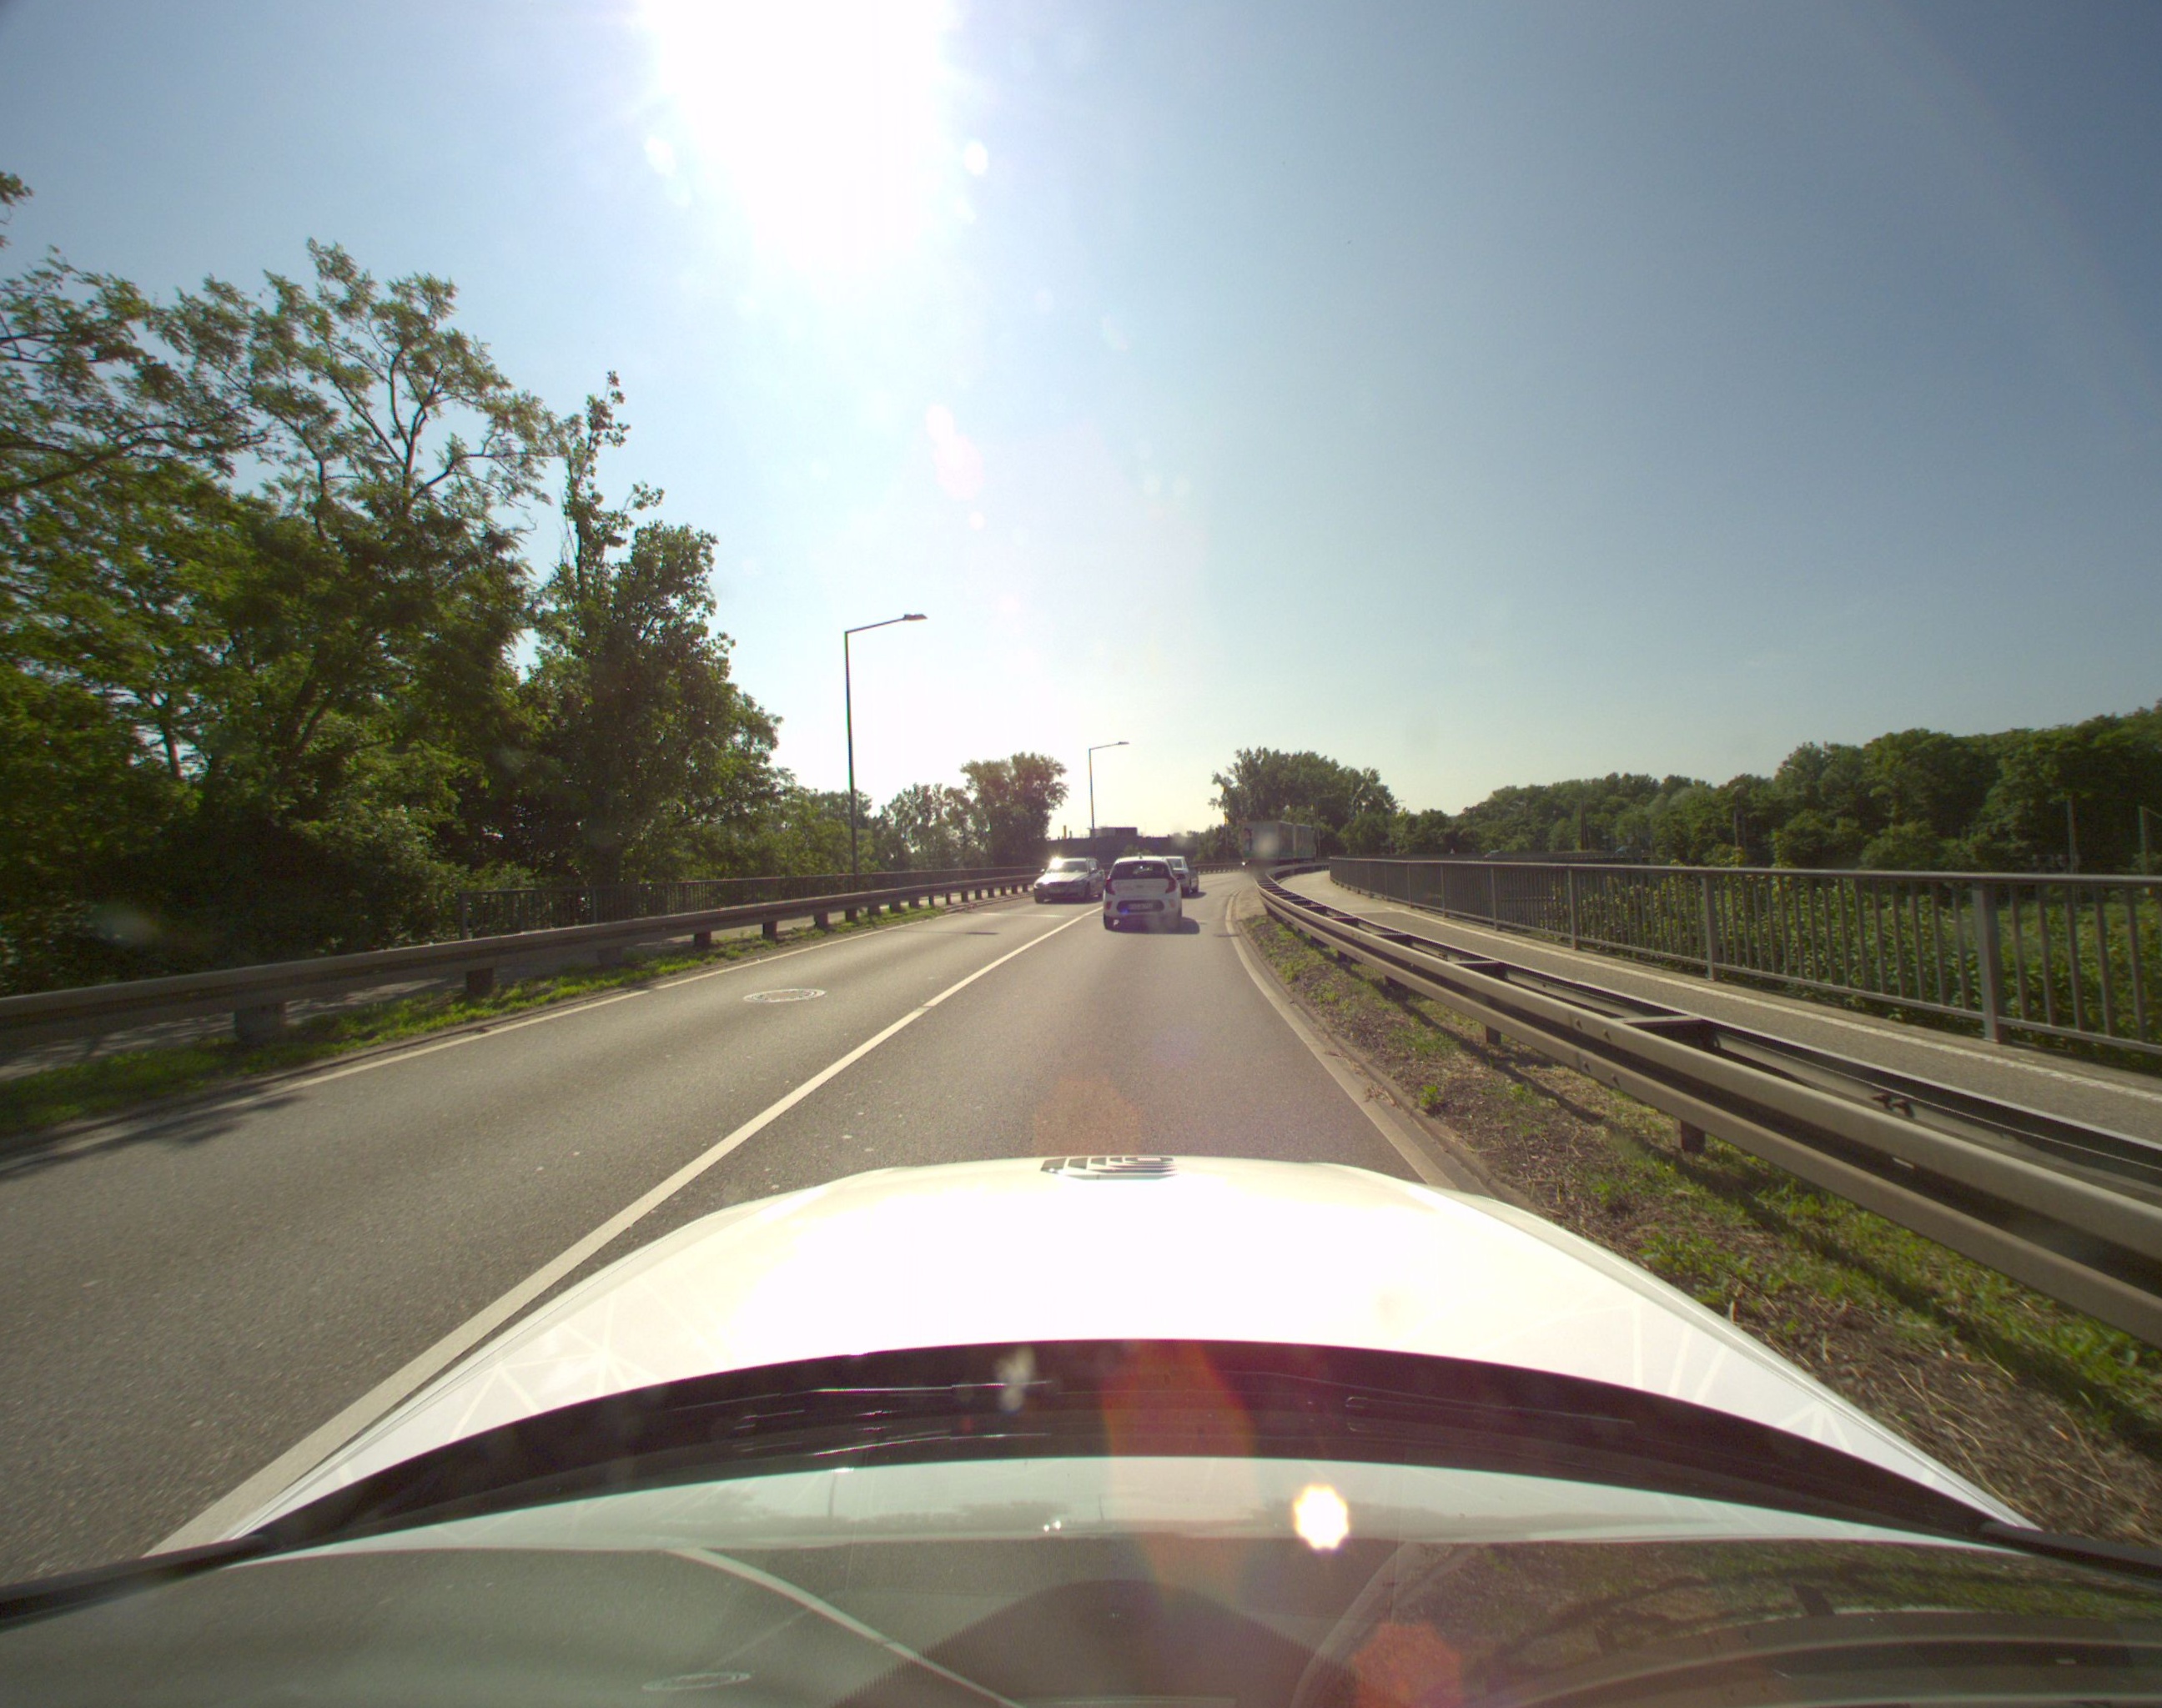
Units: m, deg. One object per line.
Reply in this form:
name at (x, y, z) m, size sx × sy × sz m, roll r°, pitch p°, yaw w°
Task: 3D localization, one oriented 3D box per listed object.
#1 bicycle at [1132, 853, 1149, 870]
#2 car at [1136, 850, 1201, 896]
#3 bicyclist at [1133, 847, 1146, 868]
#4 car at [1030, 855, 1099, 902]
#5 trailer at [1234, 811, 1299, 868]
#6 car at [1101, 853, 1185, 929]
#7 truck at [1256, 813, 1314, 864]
bicycle at (4.197, 0.531, 57.498) m, size 0.607 × 1.135 × 2.159 m, roll -5°, pitch -2°, yaw 18°
car at (3.273, 0.634, 29.683) m, size 1.926 × 1.486 × 4.915 m, roll -1°, pitch 0°, yaw 11°
bicyclist at (4.151, 0.275, 57.441) m, size 0.603 × 1.439 × 1.083 m, roll -4°, pitch -2°, yaw 18°
car at (-0.466, 0.758, 27.335) m, size 1.707 × 1.398 × 4.191 m, roll -1°, pitch 0°, yaw 7°
trailer at (13.284, -1.060, 57.776) m, size 3.196 × 3.757 × 7.868 m, roll 0°, pitch 2°, yaw 22°
car at (1.423, 0.740, 18.449) m, size 1.693 × 1.494 × 4.006 m, roll 0°, pitch 1°, yaw 5°
truck at (16.415, -1.310, 65.152) m, size 3.232 × 3.757 × 8.417 m, roll 0°, pitch 2°, yaw 23°
